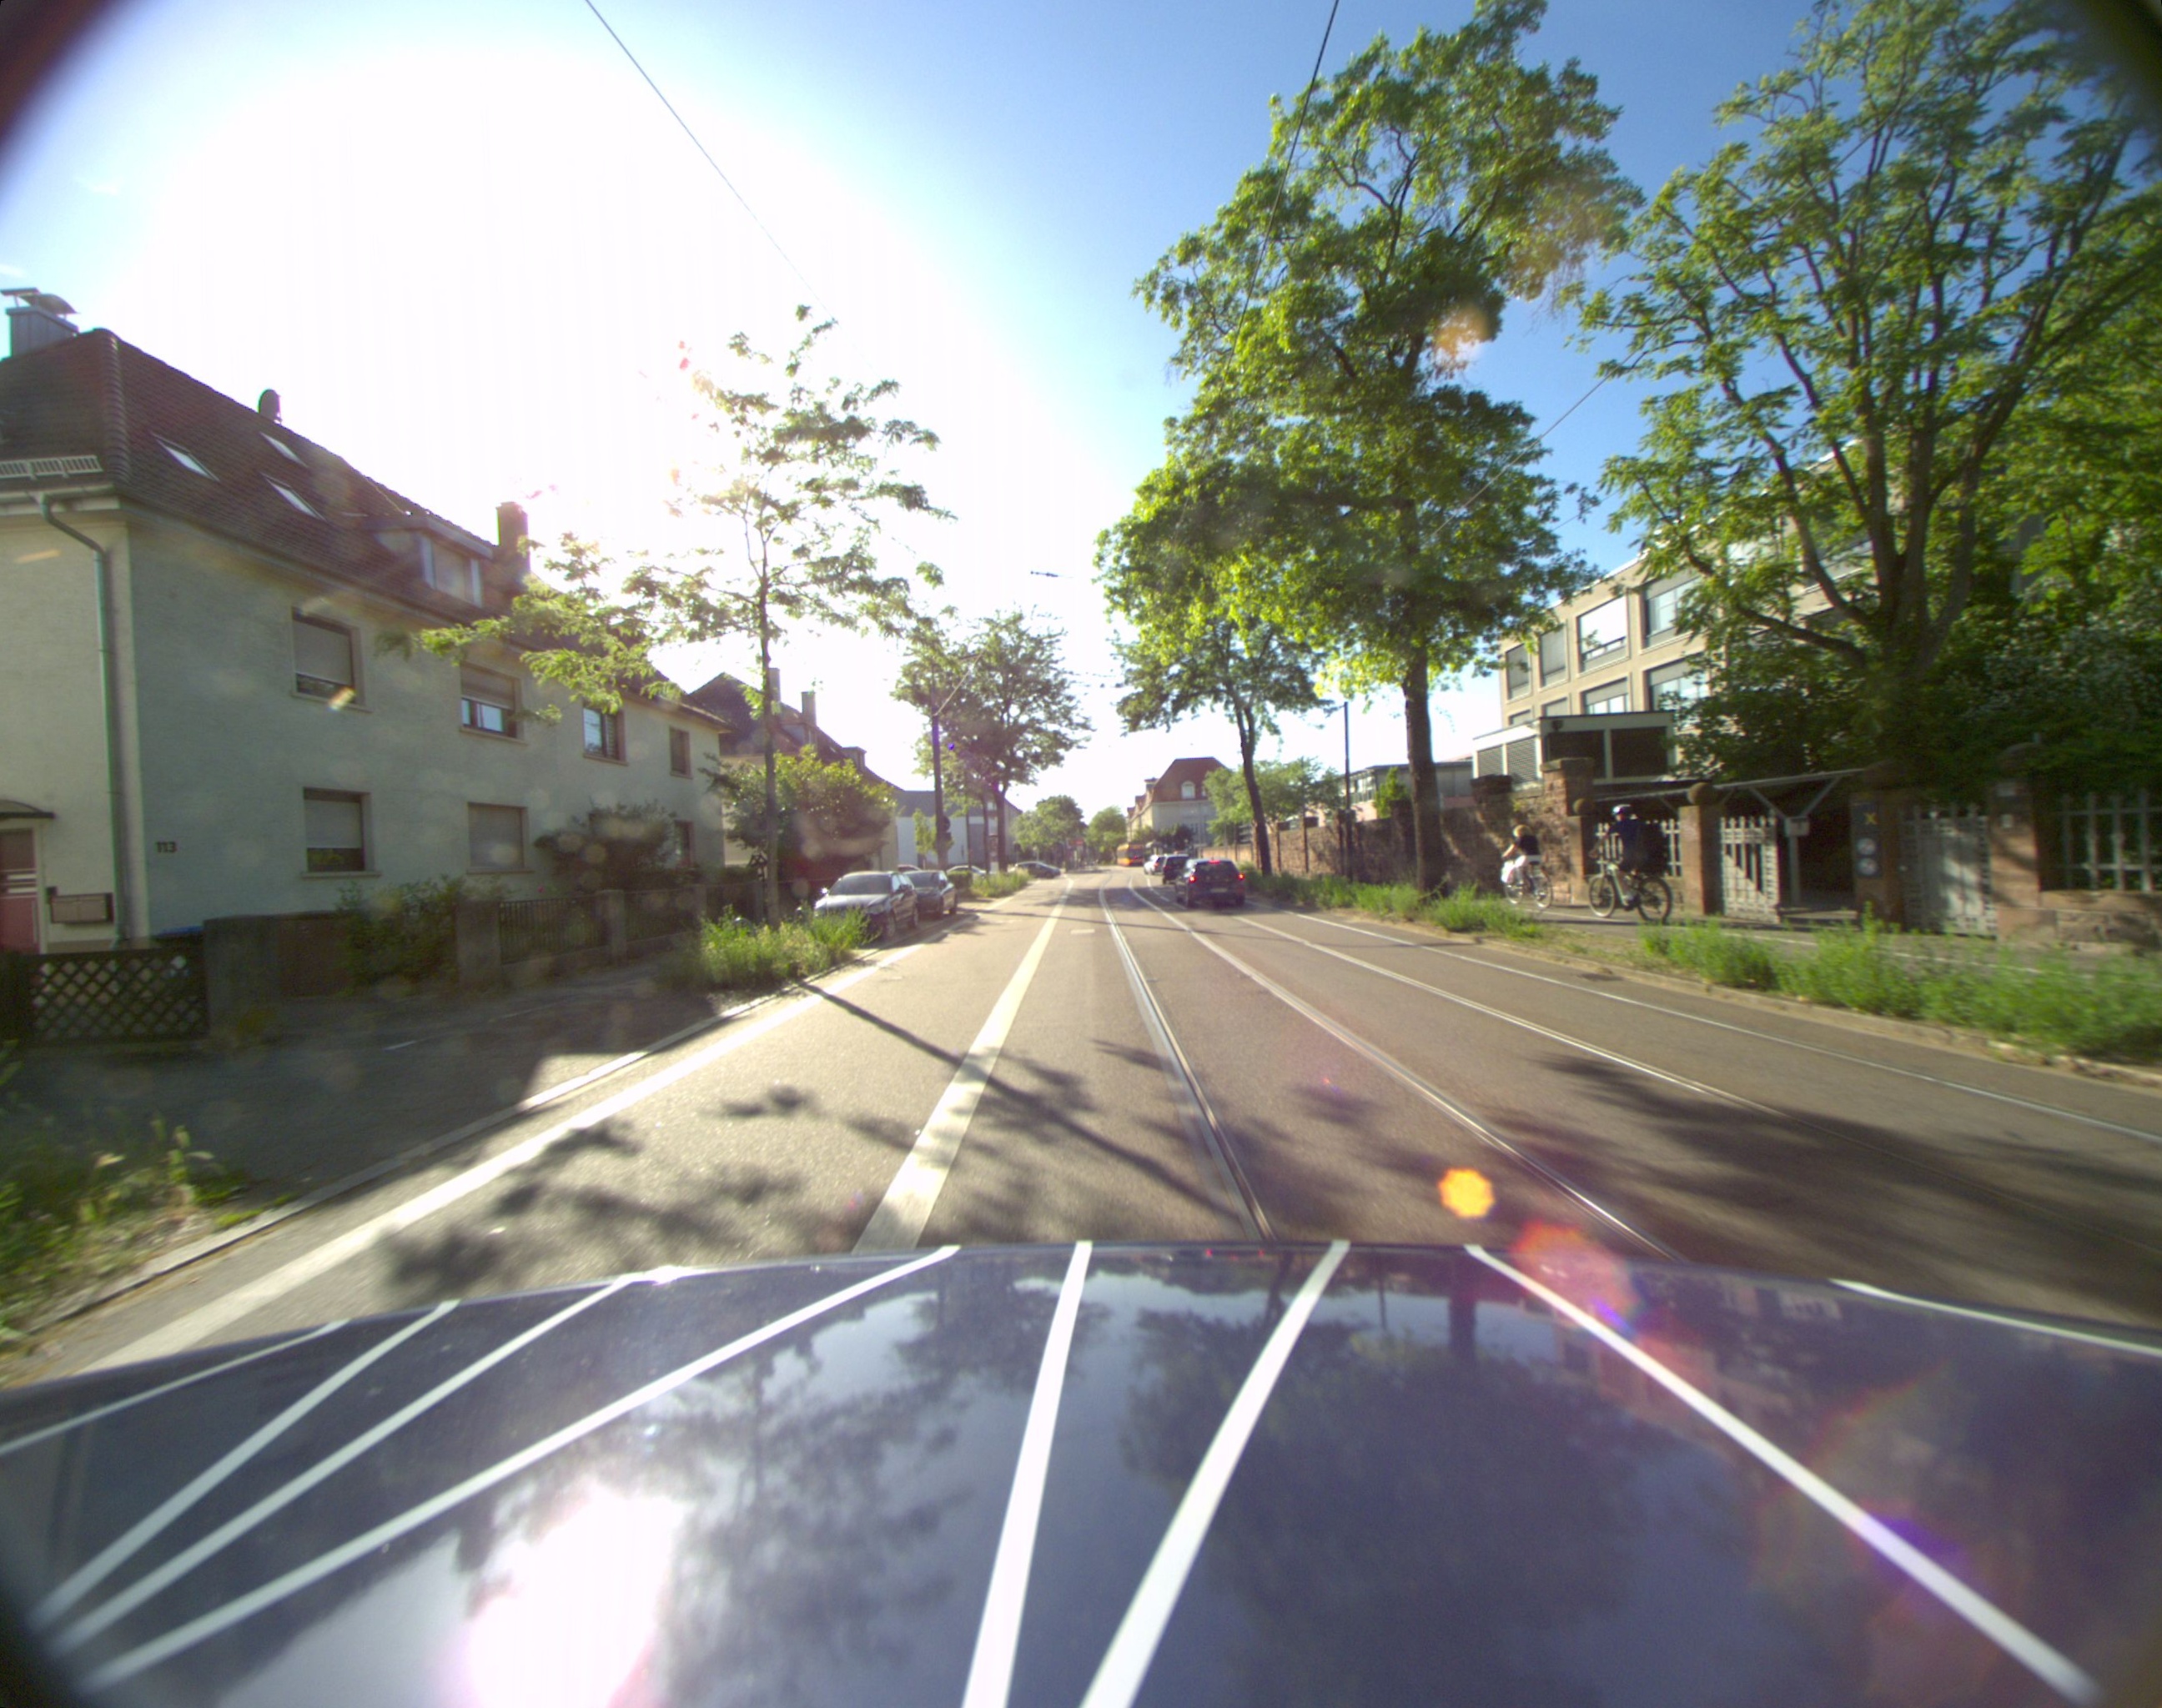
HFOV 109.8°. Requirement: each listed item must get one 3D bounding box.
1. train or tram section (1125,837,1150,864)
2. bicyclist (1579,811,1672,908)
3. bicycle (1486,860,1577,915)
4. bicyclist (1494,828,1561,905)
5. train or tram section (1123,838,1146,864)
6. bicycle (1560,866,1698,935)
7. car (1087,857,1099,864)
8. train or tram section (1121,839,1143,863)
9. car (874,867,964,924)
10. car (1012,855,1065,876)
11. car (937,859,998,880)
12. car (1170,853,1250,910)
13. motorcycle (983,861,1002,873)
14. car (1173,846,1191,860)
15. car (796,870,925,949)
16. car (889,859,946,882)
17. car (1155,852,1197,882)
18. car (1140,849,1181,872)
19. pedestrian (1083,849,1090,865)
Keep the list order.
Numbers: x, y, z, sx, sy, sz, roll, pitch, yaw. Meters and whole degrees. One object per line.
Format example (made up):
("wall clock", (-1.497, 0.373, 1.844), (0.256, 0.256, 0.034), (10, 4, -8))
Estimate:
("train or tram section", (7.734, -0.424, 104.751), (2.811, 3.439, 6.668), (-3, 0, 1))
("bicyclist", (8.710, 0.082, 12.191), (0.710, 1.462, 1.041), (-3, 0, 1))
("bicycle", (9.171, 0.659, 15.565), (0.720, 0.968, 1.888), (-5, 1, 1))
("bicyclist", (9.141, 0.240, 15.587), (0.711, 1.490, 0.956), (-5, 1, 1))
("train or tram section", (7.805, -0.412, 111.438), (2.811, 3.439, 6.668), (-3, 0, 1))
("bicycle", (8.730, 0.705, 12.234), (0.713, 0.955, 2.094), (-3, 0, 1))
("car", (2.512, 1.409, 159.471), (1.743, 1.450, 3.691), (-3, 0, -8))
("train or tram section", (7.875, -0.400, 118.123), (2.811, 3.439, 6.668), (-3, 0, 1))
("car", (-4.886, 1.202, 23.572), (1.753, 1.486, 4.443), (-2, 0, 0))
("car", (-3.519, 0.959, 63.006), (3.994, 1.499, 1.983), (-3, 0, 10))
("car", (-9.640, 1.282, 64.465), (4.610, 1.458, 1.983), (-3, 2, 12))
("car", (3.914, 0.779, 23.687), (1.753, 1.515, 4.070), (-3, 0, 0))
("motorcycle", (-9.690, 1.425, 83.431), (2.004, 1.151, 0.861), (-3, 0, -6))
("car", (14.537, -0.148, 109.241), (1.998, 1.954, 4.934), (-3, 0, 1))
("car", (-4.950, 1.183, 17.657), (1.753, 1.486, 3.996), (-2, 0, 0))
("car", (-13.432, 1.358, 62.462), (4.173, 1.632, 1.982), (-3, 0, -1))
("car", (5.144, 0.670, 41.570), (1.753, 1.515, 4.035), (-3, 0, 0))
("car", (5.930, 0.492, 57.046), (2.000, 1.515, 4.577), (-3, 0, -7))
("pedestrian", (0.672, 0.344, 92.475), (0.712, 1.843, 0.729), (-4, 0, 2))
